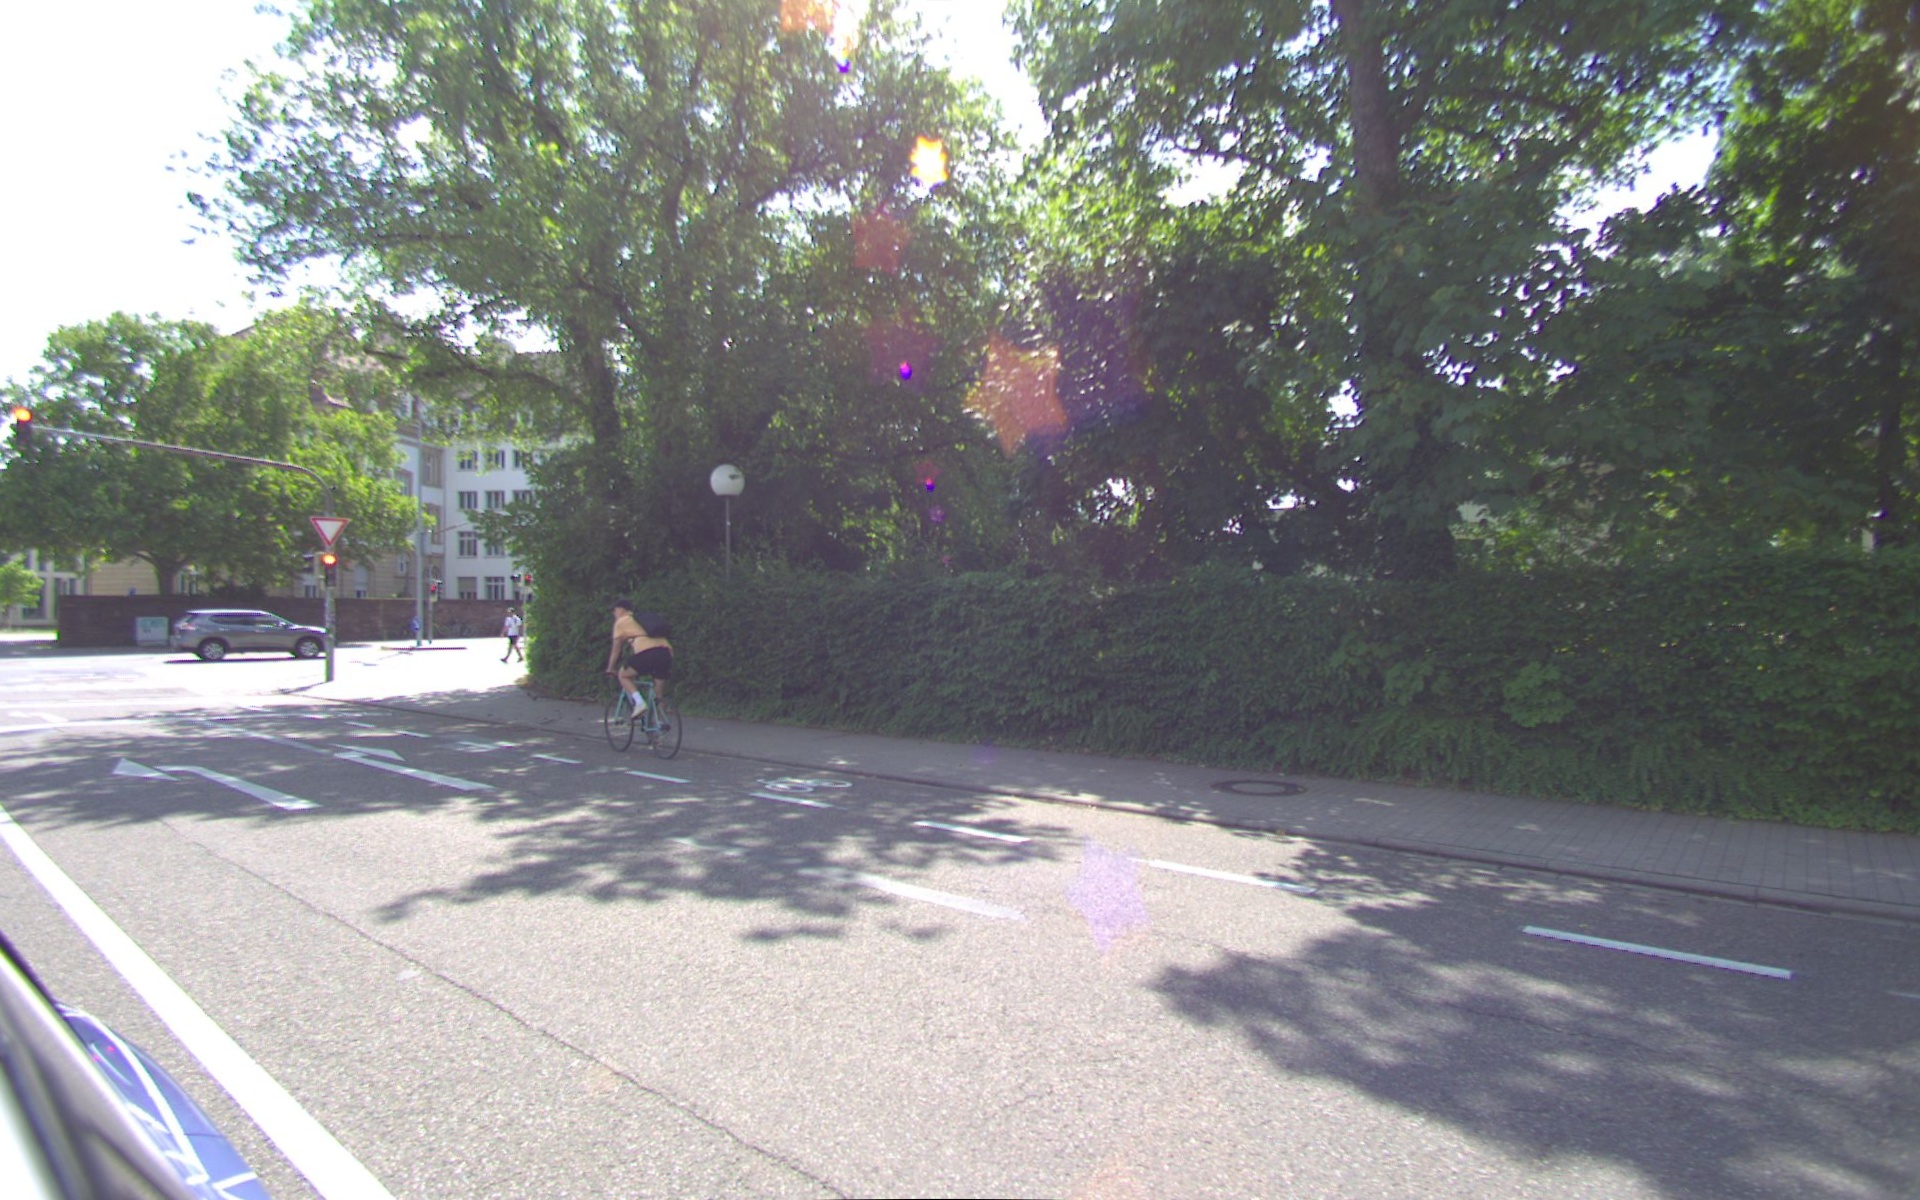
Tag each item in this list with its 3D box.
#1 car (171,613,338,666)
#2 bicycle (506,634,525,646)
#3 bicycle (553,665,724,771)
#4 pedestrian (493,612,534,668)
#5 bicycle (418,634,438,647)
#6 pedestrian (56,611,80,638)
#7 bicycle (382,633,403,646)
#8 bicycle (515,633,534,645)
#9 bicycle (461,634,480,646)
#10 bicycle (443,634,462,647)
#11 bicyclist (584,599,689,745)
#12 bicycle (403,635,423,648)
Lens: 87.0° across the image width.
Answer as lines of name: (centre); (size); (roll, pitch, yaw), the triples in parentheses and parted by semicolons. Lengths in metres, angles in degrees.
car: (-23.944, 1.300, 34.450); (4.411, 1.691, 1.827); (1, -1, -44)
bicycle: (-27.026, 2.406, 61.526); (0.994, 0.687, 0.408); (1, 0, 3)
bicycle: (-3.661, 1.280, 11.425); (2.208, 0.996, 0.785); (-1, -2, 40)
pedestrian: (-13.943, 1.237, 31.576); (0.854, 1.714, 0.918); (-3, -3, 44)
bicycle: (-30.226, 2.317, 57.474); (0.998, 0.687, 0.407); (1, 0, 16)
pedestrian: (-60.937, 1.676, 69.132); (0.834, 1.803, 0.863); (-1, -2, 10)
bicycle: (-31.250, 2.157, 55.718); (0.998, 0.687, 0.407); (1, 0, 16)
bicycle: (-26.750, 2.415, 62.154); (0.994, 0.687, 0.408); (1, 0, 3)
bicycle: (-28.819, 2.357, 59.607); (0.998, 0.687, 0.407); (1, 0, 16)
bicycle: (-29.339, 2.342, 58.526); (0.998, 0.687, 0.407); (1, 0, 16)
bicyclist: (-3.653, 0.784, 11.424); (1.017, 1.560, 0.685); (-1, -2, 40)
bicycle: (-30.671, 2.304, 56.716); (0.998, 0.687, 0.407); (1, 0, 16)
